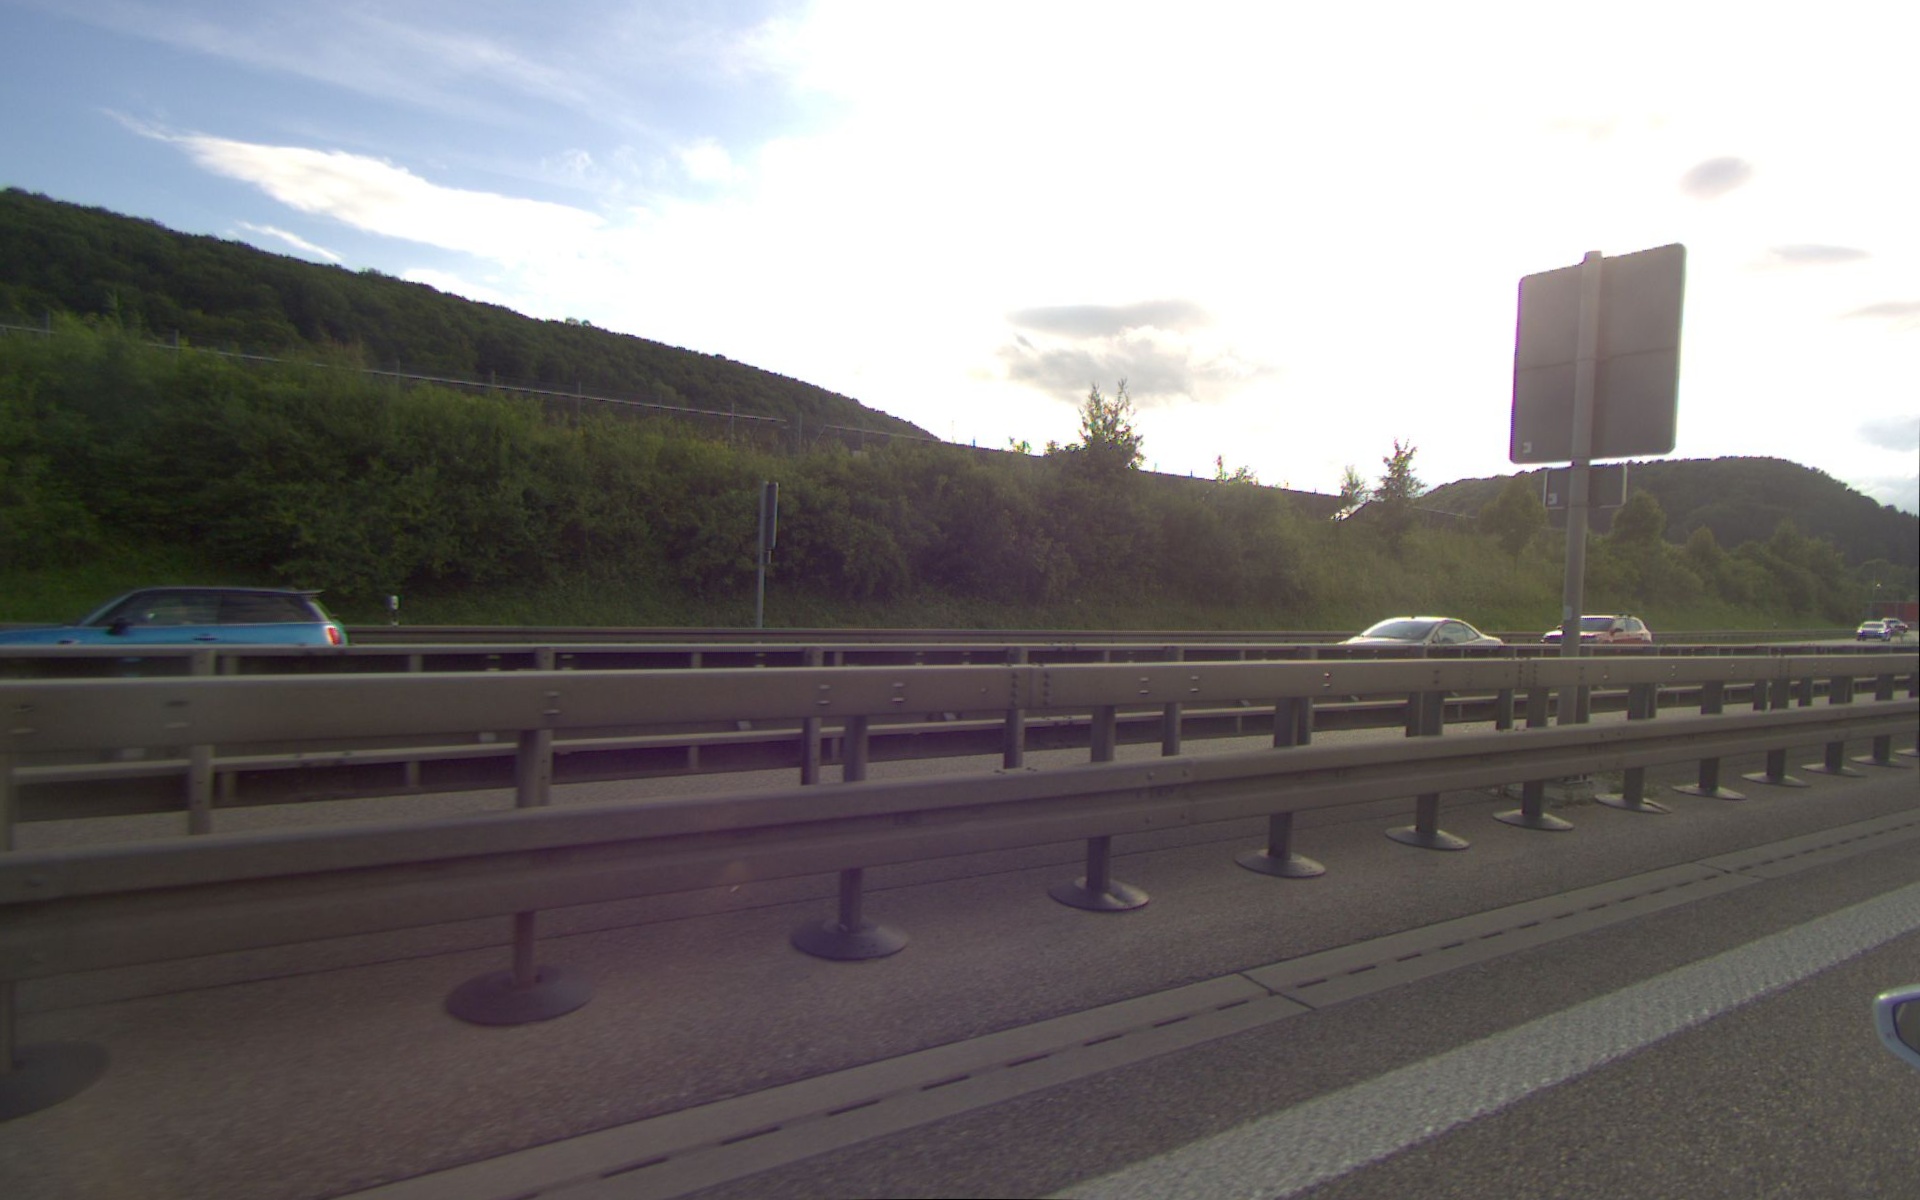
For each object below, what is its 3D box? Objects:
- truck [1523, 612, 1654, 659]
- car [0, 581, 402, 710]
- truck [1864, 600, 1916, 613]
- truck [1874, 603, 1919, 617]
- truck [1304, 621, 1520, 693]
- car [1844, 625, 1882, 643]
[{"bbox_3d":[19.563,1.079,31.240,3.903,1.371,1.983,1,-1,-32],"label":"truck"},{"bbox_3d":[-9.357,0.523,12.307,4.308,1.371,1.983,1,-1,-32],"label":"car"},{"bbox_3d":[163.409,1.161,176.518,2.842,2.040,7.313,0,-2,5],"label":"truck"},{"bbox_3d":[167.766,1.759,179.372,2.842,2.256,7.312,0,0,5],"label":"truck"},{"bbox_3d":[8.634,1.038,19.135,3.958,1.238,1.982,1,-2,-33],"label":"truck"},{"bbox_3d":[74.184,2.788,82.465,4.347,1.376,1.744,2,-1,-40],"label":"car"}]
